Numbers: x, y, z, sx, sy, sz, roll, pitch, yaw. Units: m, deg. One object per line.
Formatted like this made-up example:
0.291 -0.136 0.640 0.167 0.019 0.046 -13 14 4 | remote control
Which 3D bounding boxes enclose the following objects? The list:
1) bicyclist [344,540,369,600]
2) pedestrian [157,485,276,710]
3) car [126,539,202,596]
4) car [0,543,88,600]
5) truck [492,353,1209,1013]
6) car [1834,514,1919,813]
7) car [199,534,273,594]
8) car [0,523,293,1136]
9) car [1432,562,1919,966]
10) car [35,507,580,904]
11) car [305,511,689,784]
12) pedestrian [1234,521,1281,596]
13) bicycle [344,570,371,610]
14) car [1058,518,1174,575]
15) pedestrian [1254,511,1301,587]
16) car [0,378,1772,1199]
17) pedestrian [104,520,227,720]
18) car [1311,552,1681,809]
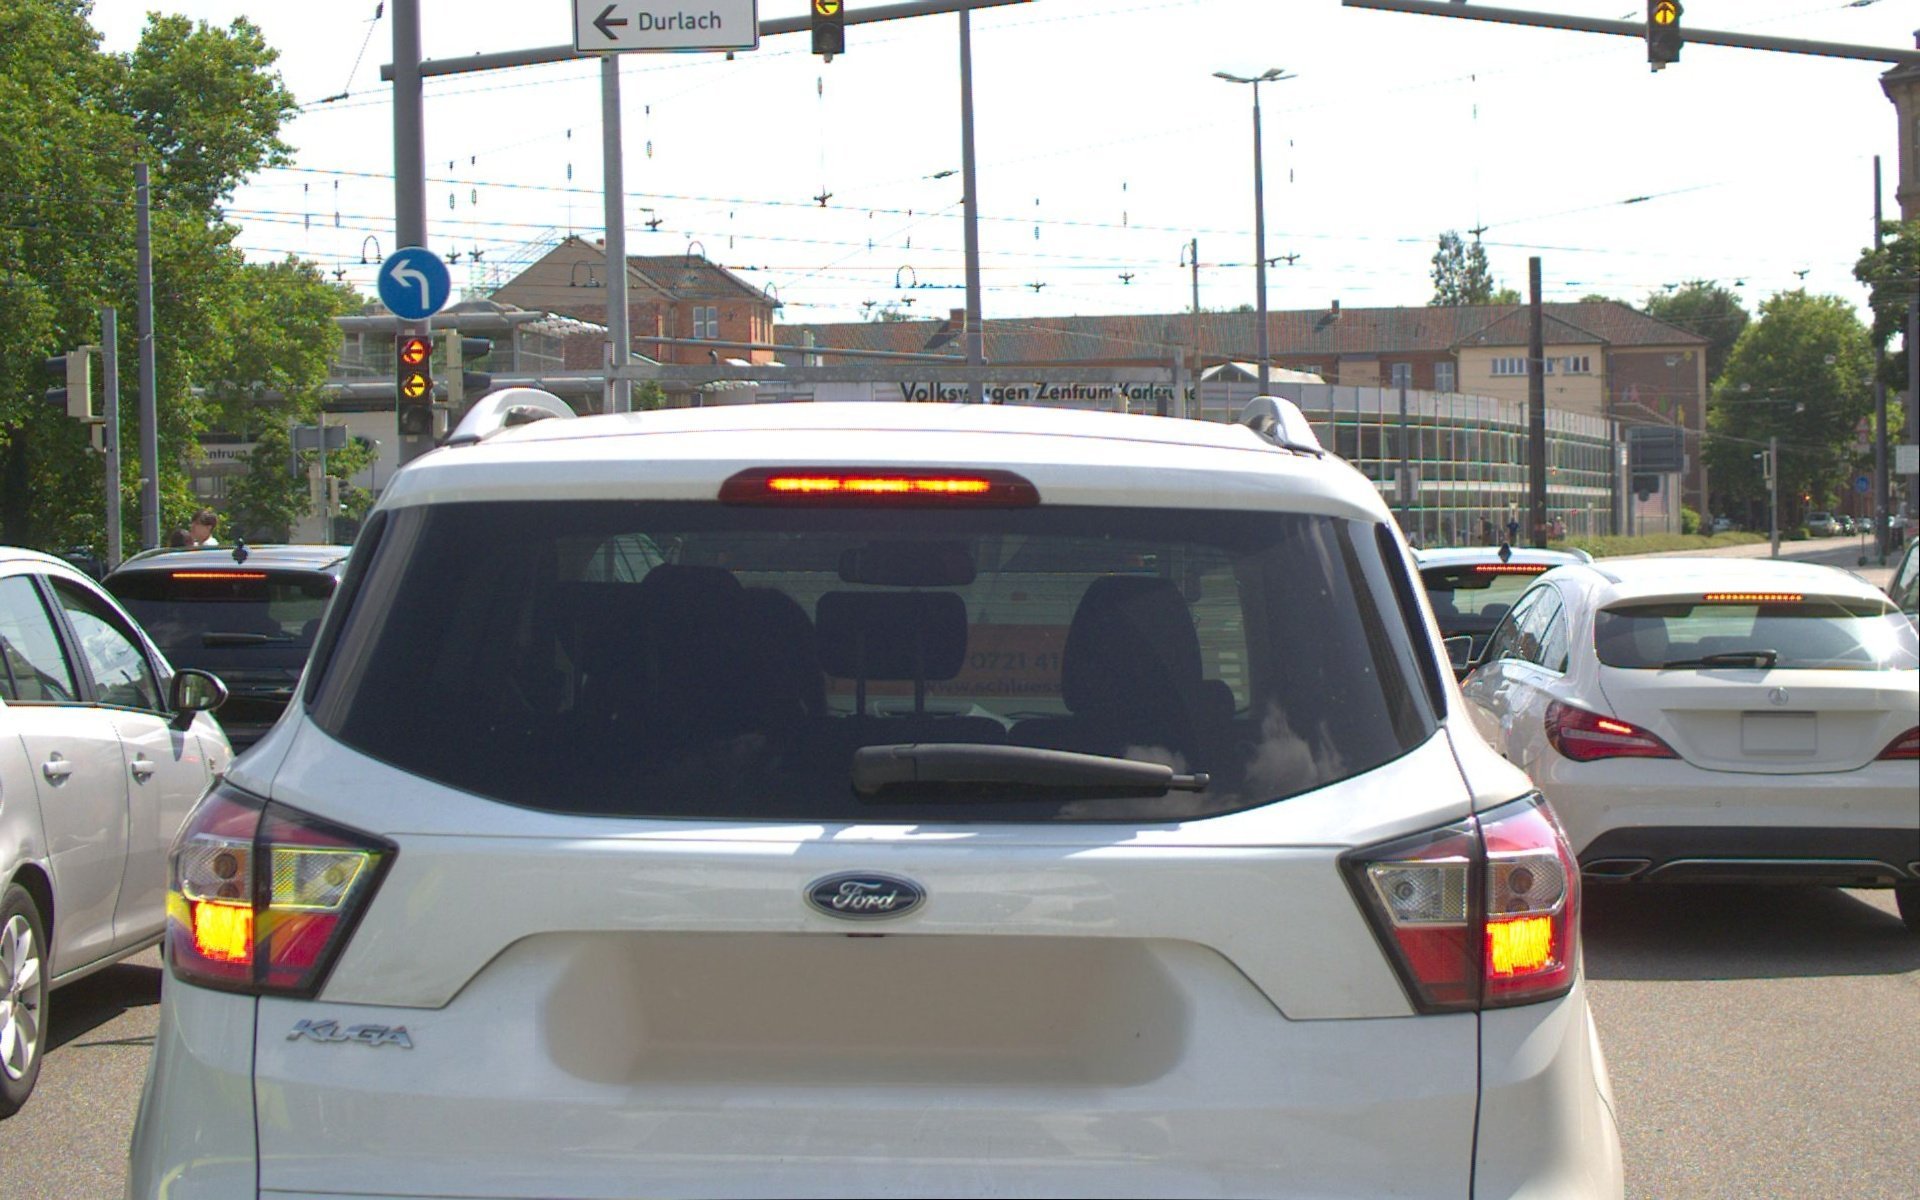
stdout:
-17.364 -0.864 98.921 0.637 1.732 0.662 -1 1 -13 | bicyclist
-6.441 -0.025 29.800 0.847 1.910 0.692 -1 0 -1 | pedestrian
-28.668 -1.143 123.894 1.967 1.930 4.231 -3 0 -5 | car
-33.345 -1.023 125.015 1.967 1.930 5.069 -3 0 -1 | car
-0.323 0.216 14.147 2.339 2.148 5.852 0 1 1 | truck
6.303 0.339 19.882 1.837 1.646 3.999 0 0 6 | car
-26.008 -1.271 123.637 1.993 2.007 4.231 -3 0 -5 | car
-3.255 0.533 10.068 1.848 1.469 4.000 -1 1 -1 | car
3.010 0.561 14.014 1.850 1.414 3.679 0 1 3 | car
-2.861 0.379 16.035 1.762 1.563 4.527 -1 1 -1 | car
-2.852 0.236 22.120 2.039 1.573 4.540 0 1 -2 | car
6.955 -0.971 80.349 0.924 1.738 0.589 0 1 -43 | pedestrian
-17.364 -0.297 99.026 0.637 1.121 1.785 -1 2 -13 | bicycle
4.280 -1.469 93.681 1.901 1.456 3.964 -2 1 22 | car
7.348 -1.175 79.659 0.924 1.738 0.589 0 1 -42 | pedestrian
-0.019 0.582 5.386 1.827 1.658 3.955 0 1 3 | car
-6.683 0.162 28.951 0.847 1.642 0.692 -1 0 -1 | pedestrian
3.143 0.417 20.815 1.850 1.414 3.679 0 1 3 | car
